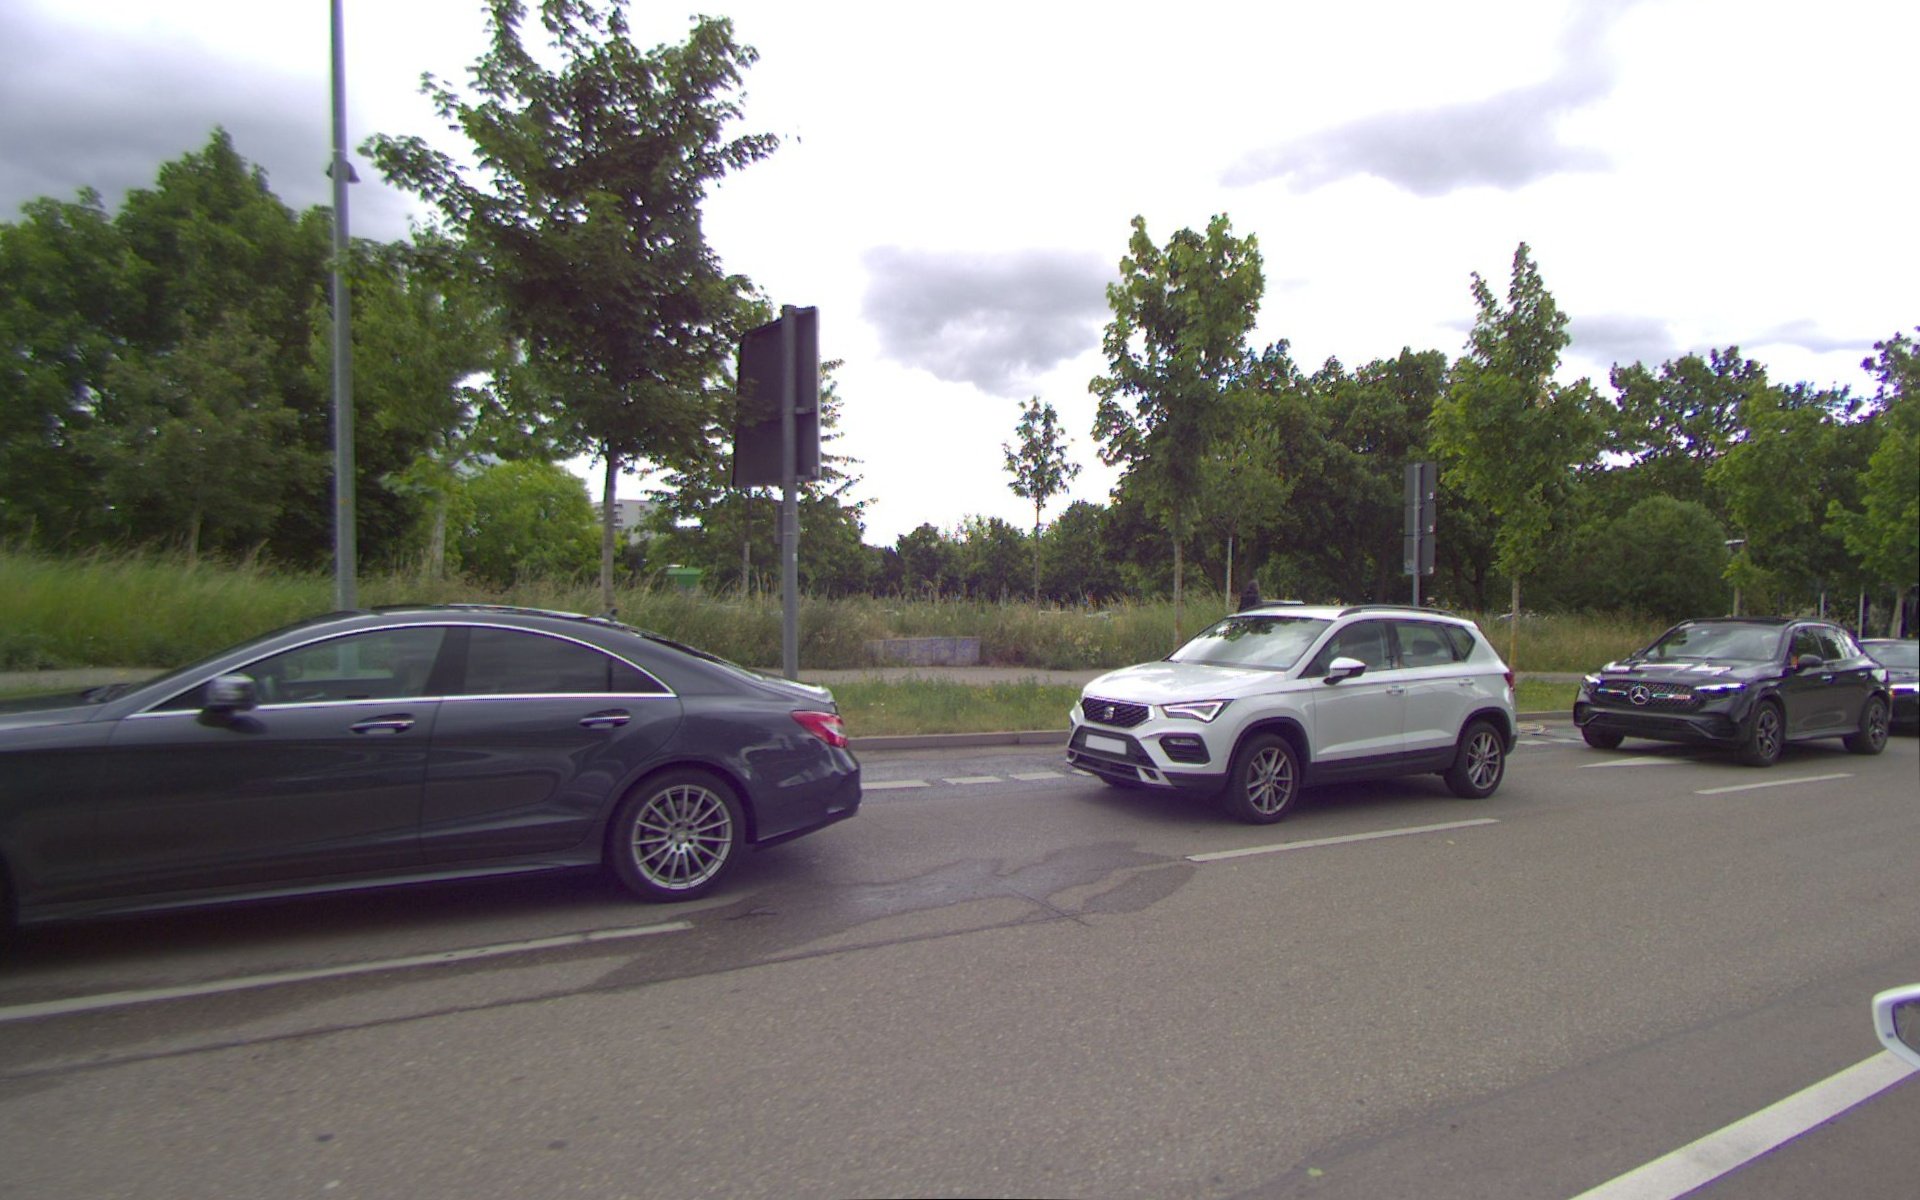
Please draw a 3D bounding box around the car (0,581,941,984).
[{"bbox_3d":[-2.597,0.660,4.967,4.827,1.409,1.631,1,1,-30],"label":"car"}]

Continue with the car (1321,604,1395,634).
[{"bbox_3d":[29.728,1.413,75.112,1.978,2.040,4.940,1,0,-31],"label":"car"}]

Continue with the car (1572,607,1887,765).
[{"bbox_3d":[9.452,0.939,12.277,4.013,1.607,1.631,1,1,-30],"label":"car"}]

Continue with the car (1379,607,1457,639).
[{"bbox_3d":[33.716,1.652,74.146,1.979,2.220,4.937,1,0,-33],"label":"car"}]

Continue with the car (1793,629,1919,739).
[{"bbox_3d":[14.703,1.217,15.627,3.849,1.477,1.427,1,1,-30],"label":"car"}]

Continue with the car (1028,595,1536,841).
[{"bbox_3d":[2.795,0.808,8.485,4.174,1.607,1.722,1,1,-30],"label":"car"}]

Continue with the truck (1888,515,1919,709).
[{"bbox_3d":[22.258,0.311,19.947,9.874,3.534,2.693,1,1,-30],"label":"truck"}]

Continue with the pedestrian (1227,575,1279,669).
[{"bbox_3d":[5.977,0.439,20.521,0.669,1.860,0.718,1,1,-29],"label":"pedestrian"}]
